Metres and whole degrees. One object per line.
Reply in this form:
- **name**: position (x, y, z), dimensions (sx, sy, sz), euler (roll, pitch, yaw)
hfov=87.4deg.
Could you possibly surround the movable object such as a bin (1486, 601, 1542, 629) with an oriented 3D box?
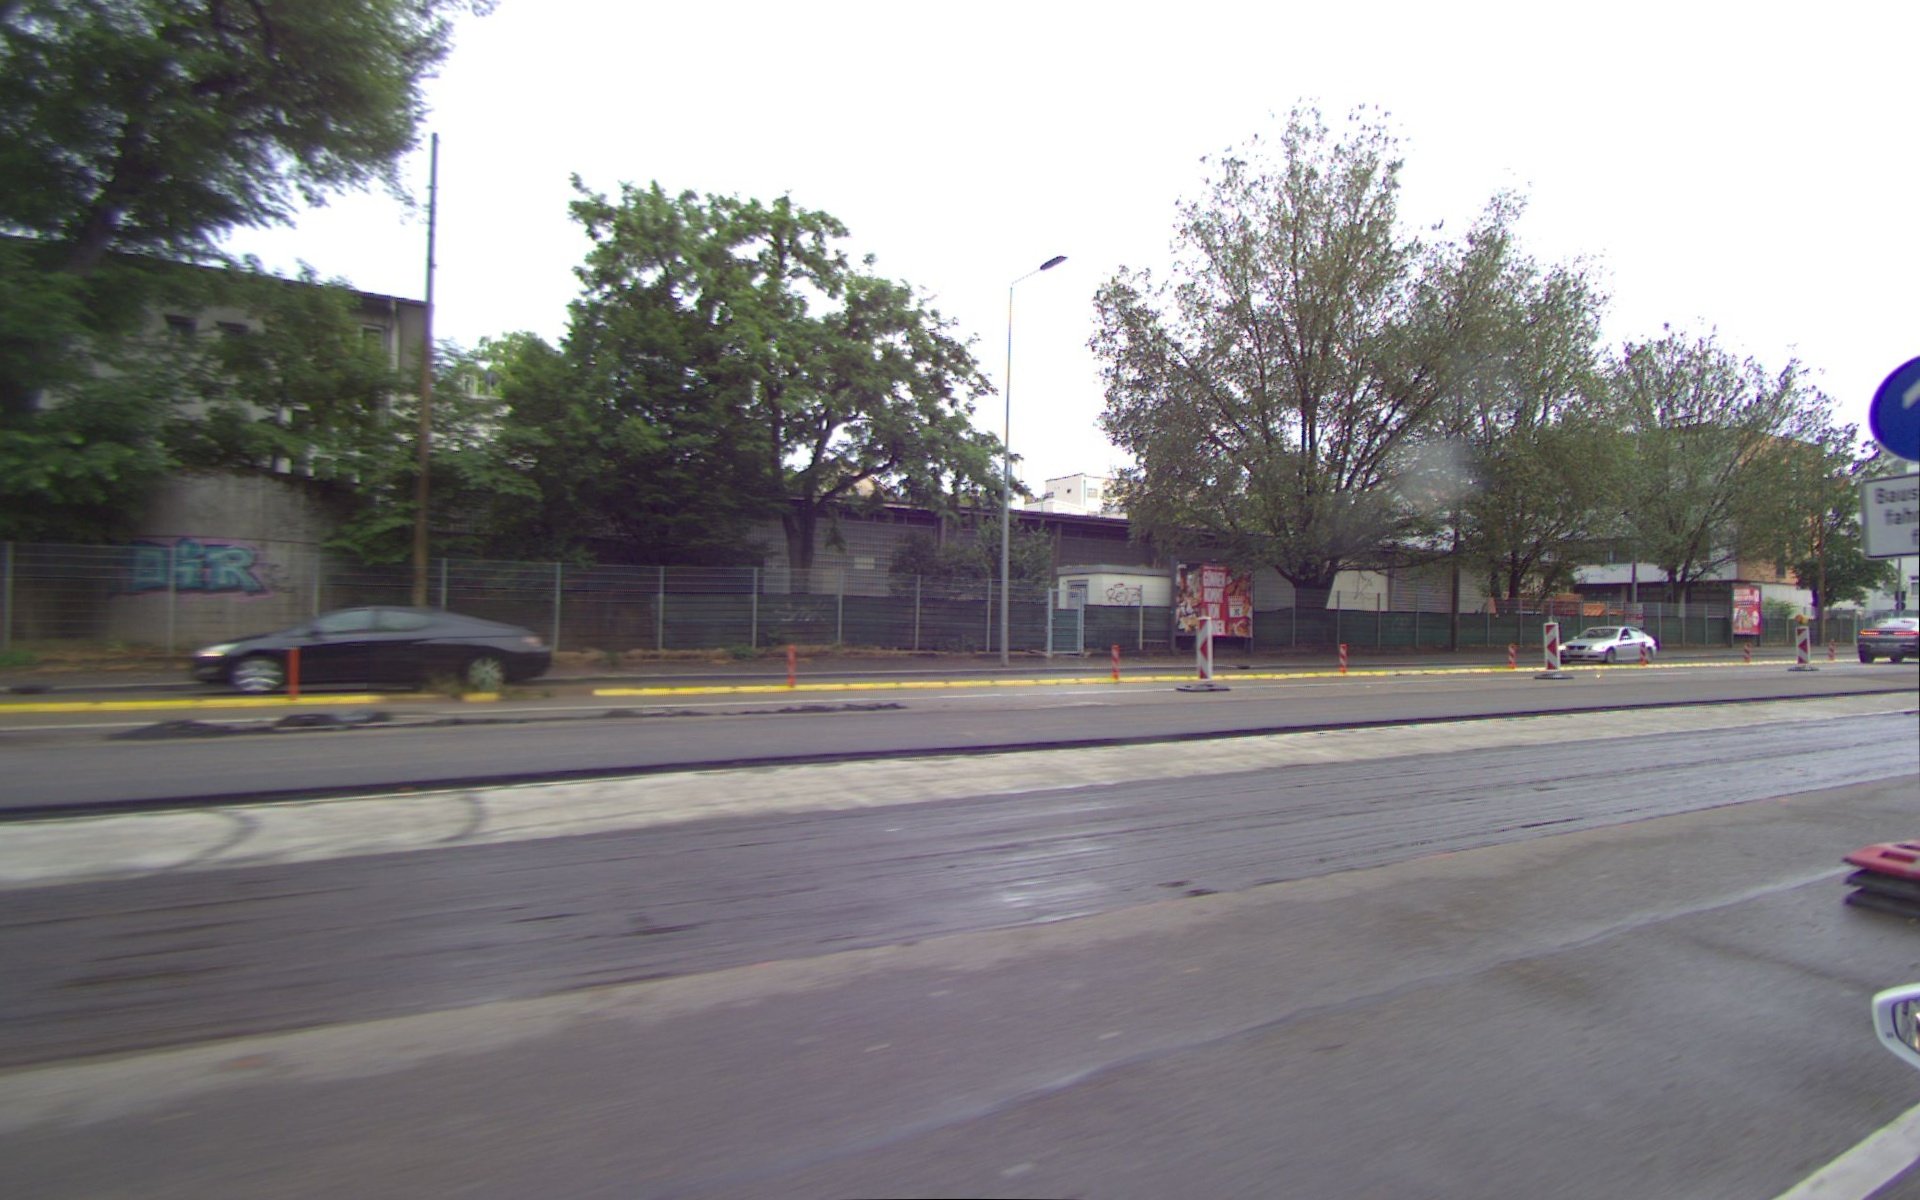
- **movable object such as a bin**: position (31.584, 0.870, 57.347), dimensions (1.718, 1.548, 4.026), euler (0, -1, 13)

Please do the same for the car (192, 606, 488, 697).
- **car**: position (-10.444, 0.856, 17.234), dimensions (4.120, 1.401, 1.698), euler (1, -2, -30)

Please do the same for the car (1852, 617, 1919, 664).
- **car**: position (35.616, 1.511, 37.731), dimensions (4.343, 1.672, 1.884), euler (1, -1, -30)

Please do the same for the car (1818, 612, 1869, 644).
- **car**: position (61.780, 1.940, 70.230), dimensions (3.955, 2.199, 1.602), euler (1, -1, -32)

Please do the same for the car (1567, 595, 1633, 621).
- **car**: position (39.655, 0.534, 62.317), dimensions (1.959, 1.548, 4.026), euler (0, -1, 8)

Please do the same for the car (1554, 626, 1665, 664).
- **car**: position (24.298, 1.688, 37.551), dimensions (4.402, 1.332, 1.659), euler (1, -3, -30)
